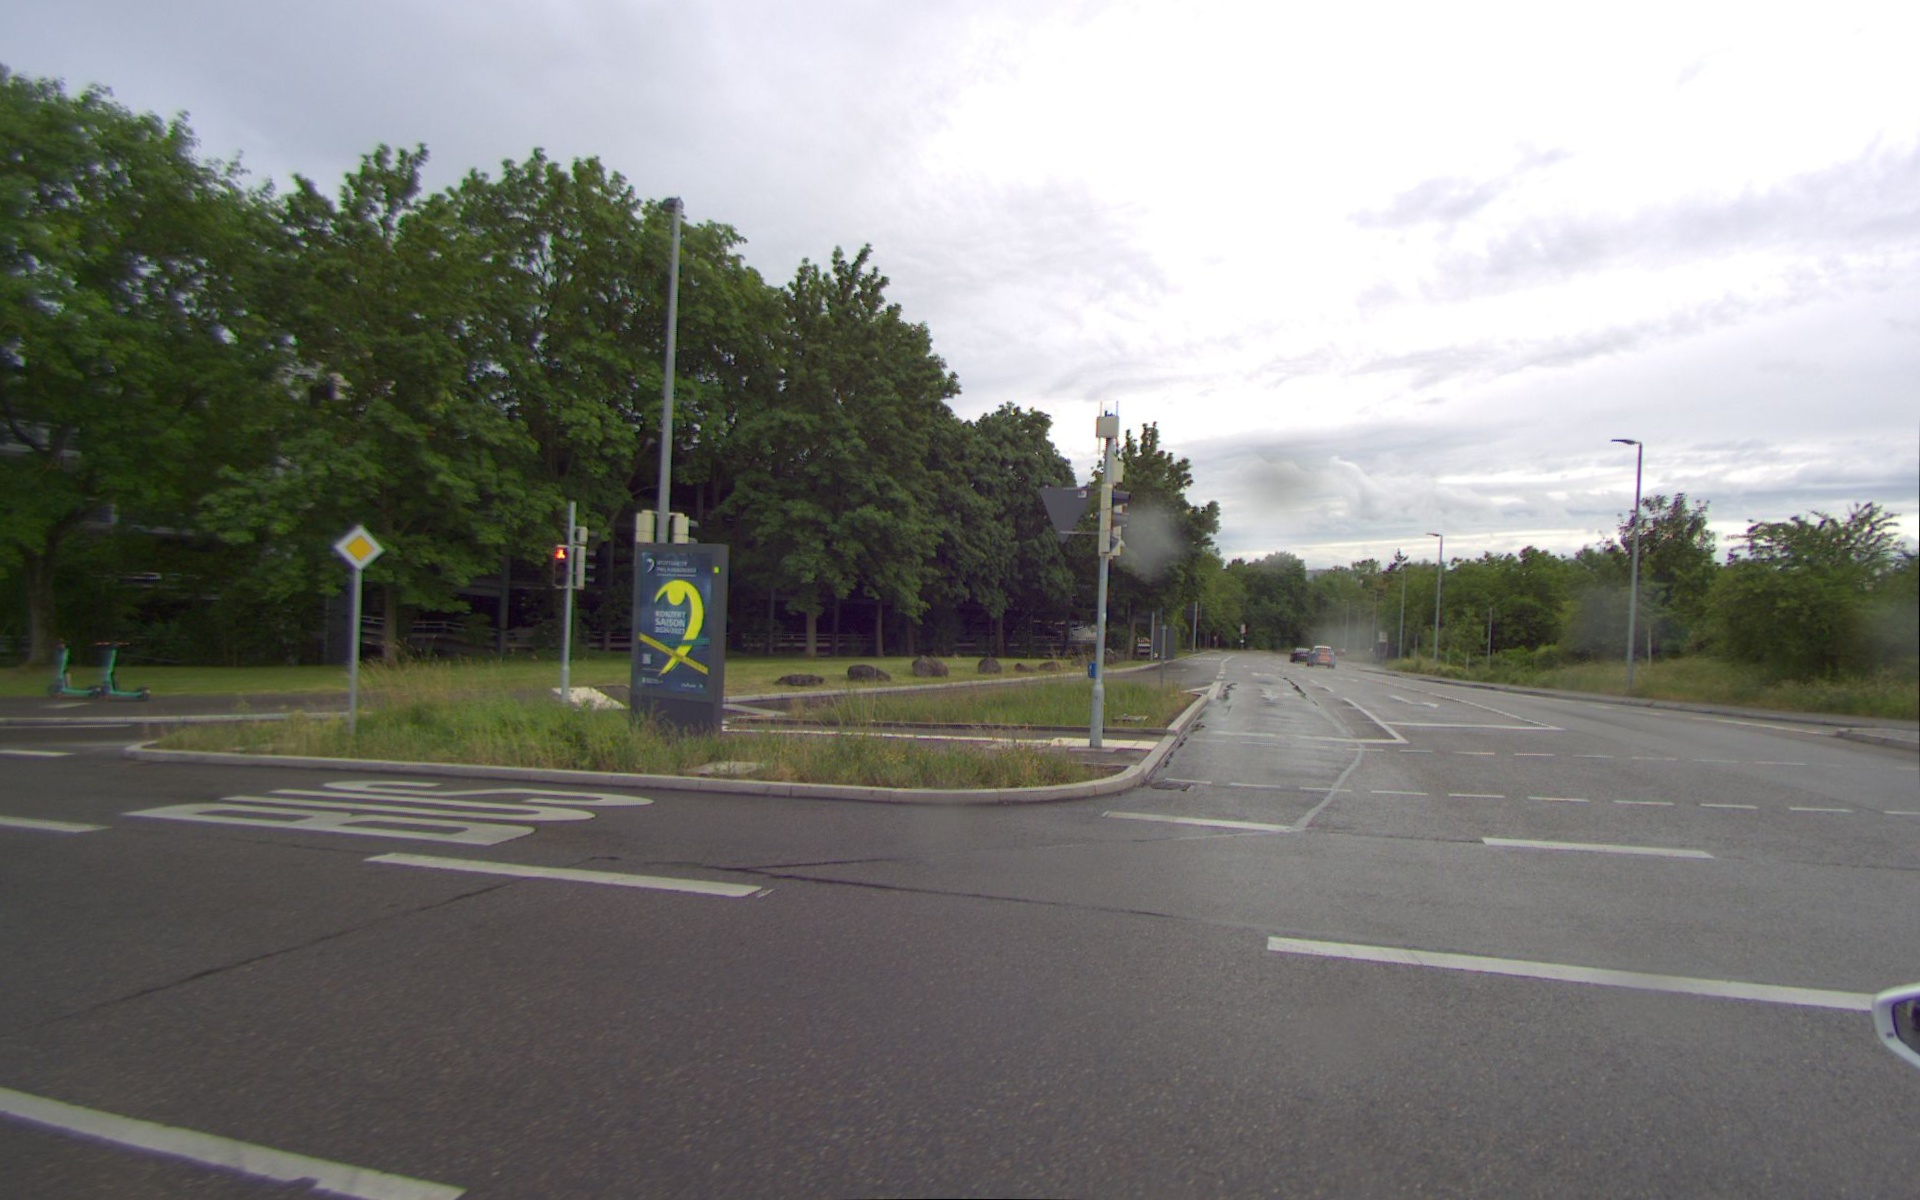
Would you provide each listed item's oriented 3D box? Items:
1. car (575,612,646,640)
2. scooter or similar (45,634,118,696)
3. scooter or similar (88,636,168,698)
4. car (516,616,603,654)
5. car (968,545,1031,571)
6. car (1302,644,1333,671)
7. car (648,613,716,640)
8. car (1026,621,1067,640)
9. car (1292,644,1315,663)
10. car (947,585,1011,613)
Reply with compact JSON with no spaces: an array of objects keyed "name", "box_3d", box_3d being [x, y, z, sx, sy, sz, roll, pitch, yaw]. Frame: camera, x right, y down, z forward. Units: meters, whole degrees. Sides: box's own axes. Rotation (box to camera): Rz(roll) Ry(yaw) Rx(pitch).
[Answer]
[{"name":"car","box_3d":[-20.215,1.498,58.101,3.936,1.539,1.993,0,-2,37]},{"name":"scooter or similar","box_3d":[-18.747,1.375,21.449,1.201,1.276,0.517,0,-1,9]},{"name":"scooter or similar","box_3d":[-17.380,1.388,20.992,1.329,1.276,0.550,0,-1,9]},{"name":"car","box_3d":[-17.561,1.509,43.966,3.944,1.539,1.989,0,-3,43]},{"name":"car","box_3d":[2.701,-2.892,69.261,3.944,1.539,1.989,5,1,44]},{"name":"car","box_3d":[26.368,4.232,74.258,1.960,1.712,4.001,2,0,17]},{"name":"car","box_3d":[-17.035,1.611,61.434,3.936,1.539,1.993,0,-2,37]},{"name":"car","box_3d":[8.070,2.846,93.447,3.418,1.539,1.580,1,-2,37]},{"name":"car","box_3d":[31.557,4.880,92.444,1.895,1.506,3.800,2,0,18]},{"name":"car","box_3d":[1.261,-0.092,67.326,3.944,1.539,1.989,5,1,44]}]
